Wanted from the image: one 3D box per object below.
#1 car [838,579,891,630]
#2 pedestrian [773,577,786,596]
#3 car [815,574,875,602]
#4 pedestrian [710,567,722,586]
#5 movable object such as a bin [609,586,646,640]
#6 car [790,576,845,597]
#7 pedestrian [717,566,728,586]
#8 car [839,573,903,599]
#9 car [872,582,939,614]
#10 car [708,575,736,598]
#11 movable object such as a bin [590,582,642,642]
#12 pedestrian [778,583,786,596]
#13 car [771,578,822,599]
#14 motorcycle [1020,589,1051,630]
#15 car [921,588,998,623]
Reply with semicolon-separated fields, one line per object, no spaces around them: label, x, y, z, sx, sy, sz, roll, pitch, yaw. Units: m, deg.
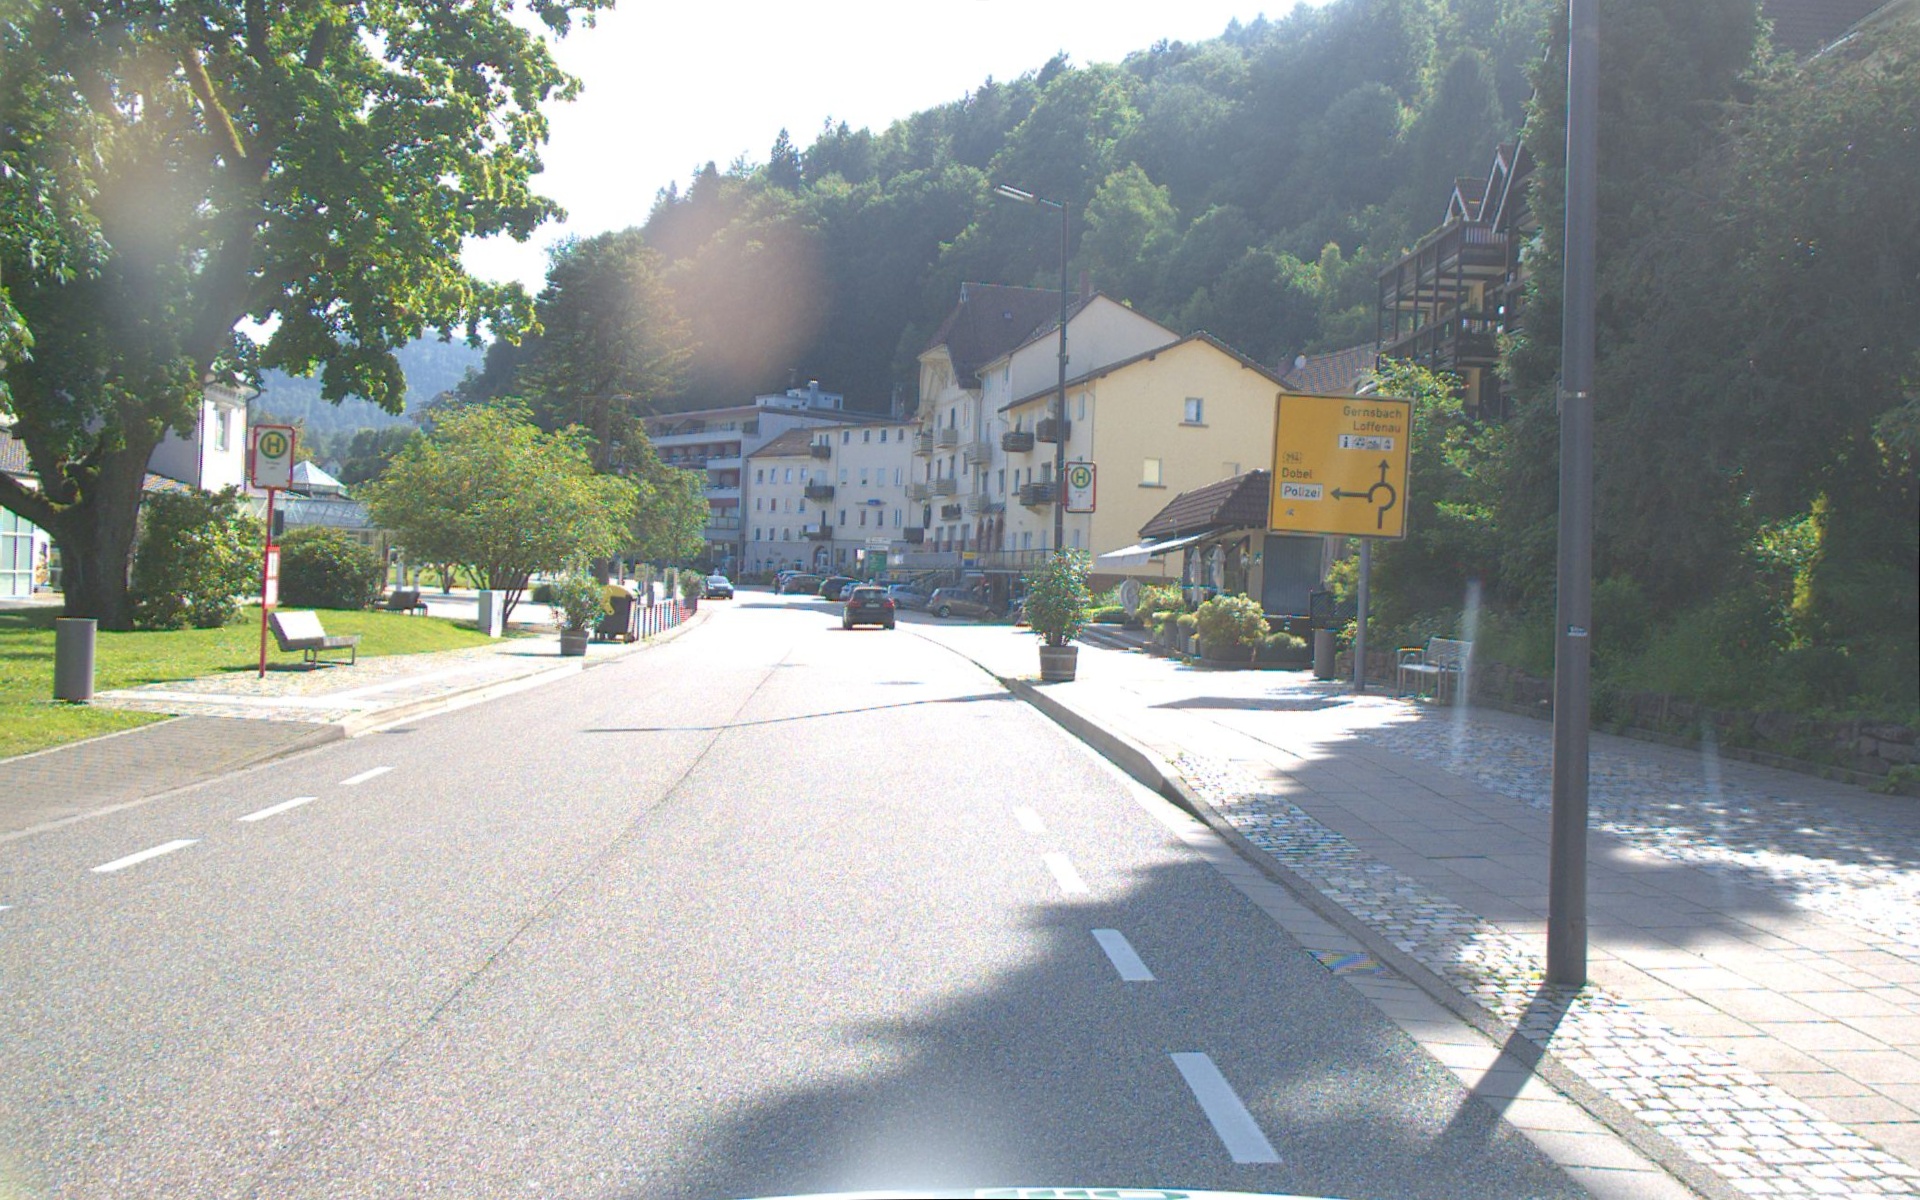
car;-3.522;0.127;60.682;1.694;1.601;3.749;3;2;-6
pedestrian;-13.967;-1.035;127.951;0.730;1.467;0.624;0;2;-38
car;-8.357;-0.873;120.131;4.013;1.694;1.767;5;0;-13
pedestrian;-21.301;-2.068;144.316;0.751;1.621;0.620;2;1;-35
movable object such as a bin;-8.951;0.342;44.562;0.740;1.365;1.293;4;0;-6
car;-11.183;-1.057;130.180;3.972;1.542;1.753;-1;4;-33
pedestrian;-20.919;-2.093;145.559;0.663;1.758;0.699;2;1;-35
car;-6.216;-0.987;115.334;4.278;1.486;1.768;4;-1;-10
car;-3.419;-0.133;103.911;3.842;1.616;1.769;5;0;-13
car;-15.749;-0.880;109.536;1.708;1.488;4.181;0;1;-7
movable object such as a bin;-8.842;0.289;42.561;1.058;1.452;1.375;4;0;-6
pedestrian;-13.776;-0.836;128.148;0.414;1.019;0.524;0;2;-38
car;-13.284;-0.953;134.428;3.825;1.576;1.753;-1;4;-33
motorcycle;2.547;0.309;55.966;0.683;1.319;2.209;-1;1;-6
car;-0.024;0.311;90.485;3.796;1.581;1.754;5;0;-15
